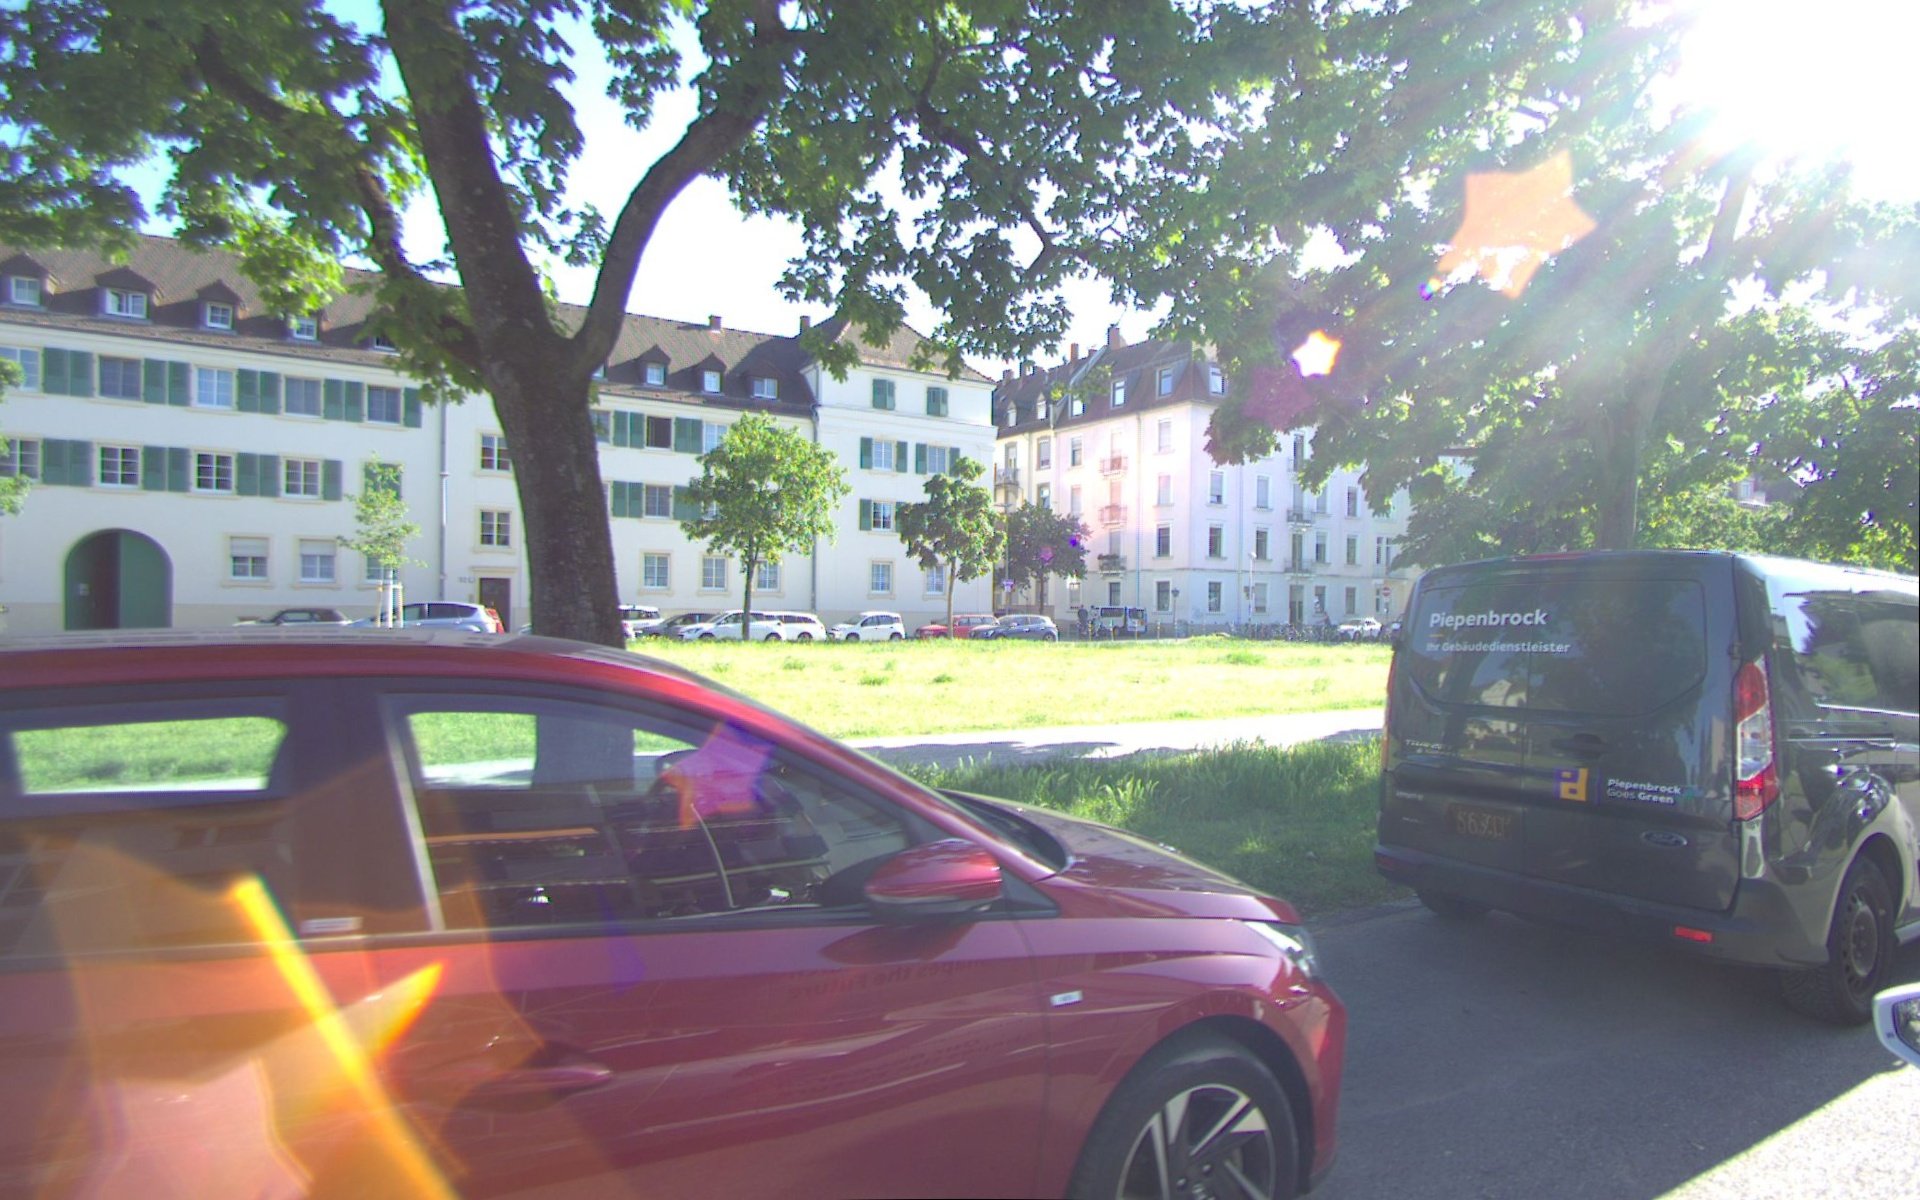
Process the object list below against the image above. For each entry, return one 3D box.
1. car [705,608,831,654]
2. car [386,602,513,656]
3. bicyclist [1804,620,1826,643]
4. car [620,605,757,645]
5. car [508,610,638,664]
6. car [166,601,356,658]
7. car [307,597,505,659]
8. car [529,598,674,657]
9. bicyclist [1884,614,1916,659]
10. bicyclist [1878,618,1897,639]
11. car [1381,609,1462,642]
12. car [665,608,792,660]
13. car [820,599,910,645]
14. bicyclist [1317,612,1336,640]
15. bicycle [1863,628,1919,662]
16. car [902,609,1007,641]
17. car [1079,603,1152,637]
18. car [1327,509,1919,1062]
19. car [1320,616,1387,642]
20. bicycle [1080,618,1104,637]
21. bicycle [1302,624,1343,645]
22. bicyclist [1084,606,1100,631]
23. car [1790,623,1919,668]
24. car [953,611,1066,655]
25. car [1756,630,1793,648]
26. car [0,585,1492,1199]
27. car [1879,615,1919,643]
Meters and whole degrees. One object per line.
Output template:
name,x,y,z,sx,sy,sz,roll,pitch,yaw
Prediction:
car,-8.528,1.372,44.704,5.100,1.911,2.142,1,0,-31
car,-19.340,1.085,38.084,4.121,1.930,2.251,1,0,-32
bicyclist,70.319,2.557,82.617,1.433,1.861,0.937,2,-1,-31
car,-10.756,0.990,39.893,4.903,1.504,1.983,1,-1,-32
car,-13.549,1.263,35.153,3.961,1.773,2.307,1,0,-30
car,-24.232,1.021,35.127,5.195,1.844,2.439,1,0,-30
car,-17.812,0.893,32.545,5.388,1.844,2.439,1,0,-30
car,-14.657,1.107,41.142,5.201,2.245,2.516,1,0,-33
bicyclist,36.842,1.414,39.369,0.866,1.713,0.629,0,-1,40
bicyclist,83.000,2.545,89.862,1.433,1.861,0.936,2,-2,-32
car,27.911,1.531,60.702,5.044,1.897,2.069,1,0,-34
car,-8.762,1.261,38.098,4.212,1.844,2.223,1,0,-33
car,-4.446,1.035,47.155,3.853,2.040,1.656,2,-1,-32
bicyclist,19.027,1.346,52.192,0.861,1.382,0.623,1,0,26
bicycle,36.838,1.746,39.366,2.122,1.275,0.711,1,0,41
car,-0.231,1.232,49.687,4.903,1.504,1.983,1,-1,-32
car,9.837,1.232,63.774,2.118,2.040,4.534,1,0,-33
car,4.381,0.683,5.369,4.934,1.808,1.855,2,-1,-31
car,25.712,1.891,65.534,4.407,1.608,1.981,1,0,-35
bicycle,7.383,1.555,56.119,0.522,1.030,1.478,1,0,44
bicycle,18.867,1.799,52.332,1.945,1.030,0.658,1,0,27
bicyclist,7.370,1.038,56.105,0.526,1.382,0.781,1,0,43
car,33.865,1.674,37.474,4.277,1.428,1.914,1,2,36
car,2.238,1.468,44.795,4.654,1.844,2.146,1,0,-33
car,70.002,3.332,86.286,3.302,1.459,1.374,1,0,-30
car,-0.758,0.724,2.233,4.039,1.447,1.531,1,-1,-30
car,95.841,2.932,102.410,5.565,2.780,1.904,1,0,-34
